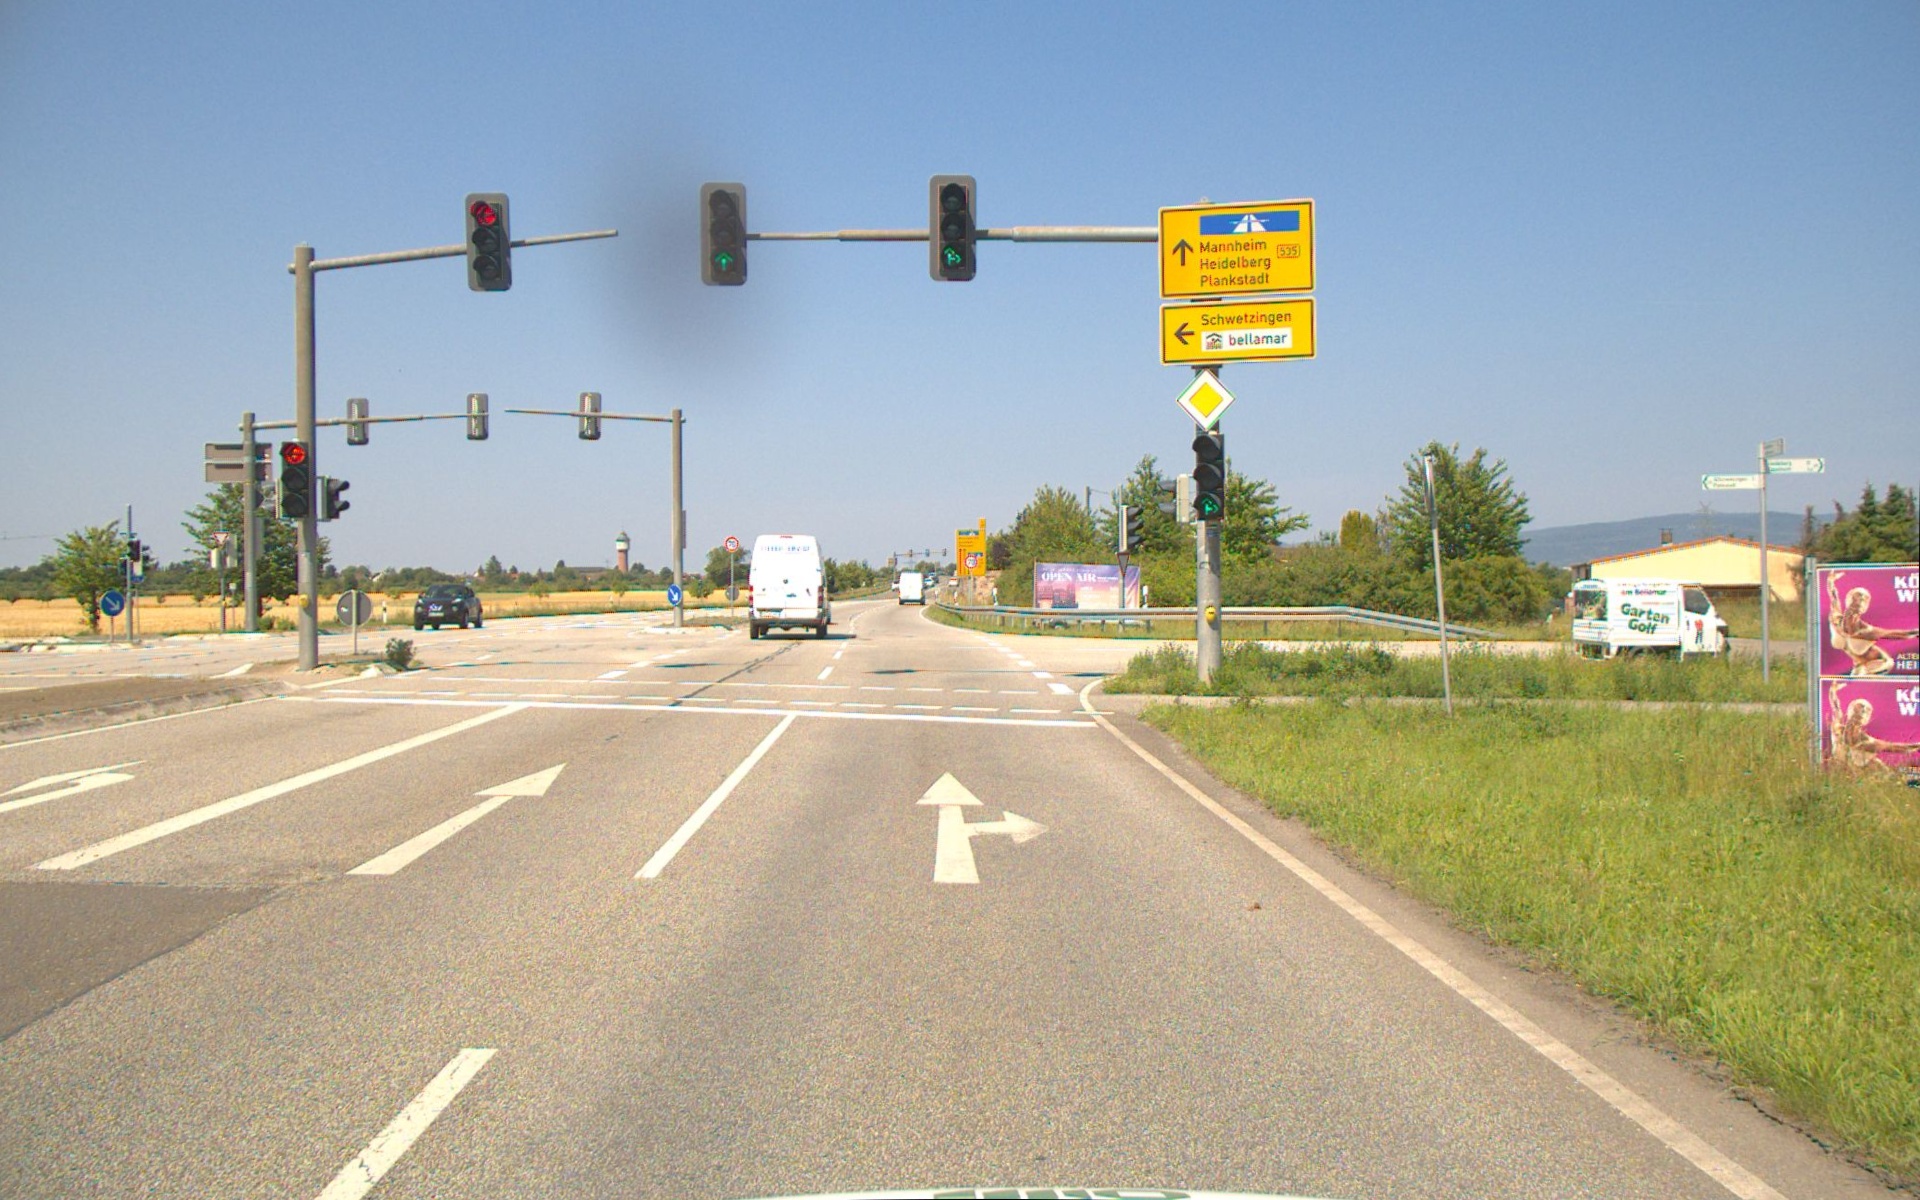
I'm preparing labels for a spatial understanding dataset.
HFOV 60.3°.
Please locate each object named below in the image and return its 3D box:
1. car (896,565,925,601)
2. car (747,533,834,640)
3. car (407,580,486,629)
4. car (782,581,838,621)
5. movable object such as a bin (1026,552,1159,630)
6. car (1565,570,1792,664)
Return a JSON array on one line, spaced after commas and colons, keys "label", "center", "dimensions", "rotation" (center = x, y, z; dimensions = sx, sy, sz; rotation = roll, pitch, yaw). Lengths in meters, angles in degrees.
[{"label": "car", "center": [-3.966, -1.316, 132.452], "dimensions": [1.952, 2.742, 4.970], "rotation": [1, -1, 2]}, {"label": "car", "center": [-4.492, -0.372, 44.600], "dimensions": [1.998, 2.665, 5.738], "rotation": [-1, 0, -3]}, {"label": "car", "center": [-18.027, 0.159, 58.261], "dimensions": [1.795, 1.628, 4.300], "rotation": [-1, 0, -6]}, {"label": "car", "center": [-5.993, 0.022, 66.388], "dimensions": [1.762, 1.534, 4.197], "rotation": [0, 1, 2]}, {"label": "movable object such as a bin", "center": [4.185, -0.274, 52.536], "dimensions": [4.015, 2.372, 1.276], "rotation": [1, 0, -6]}, {"label": "car", "center": [12.009, 0.268, 27.717], "dimensions": [3.273, 1.526, 1.398], "rotation": [0, 0, -8]}]
